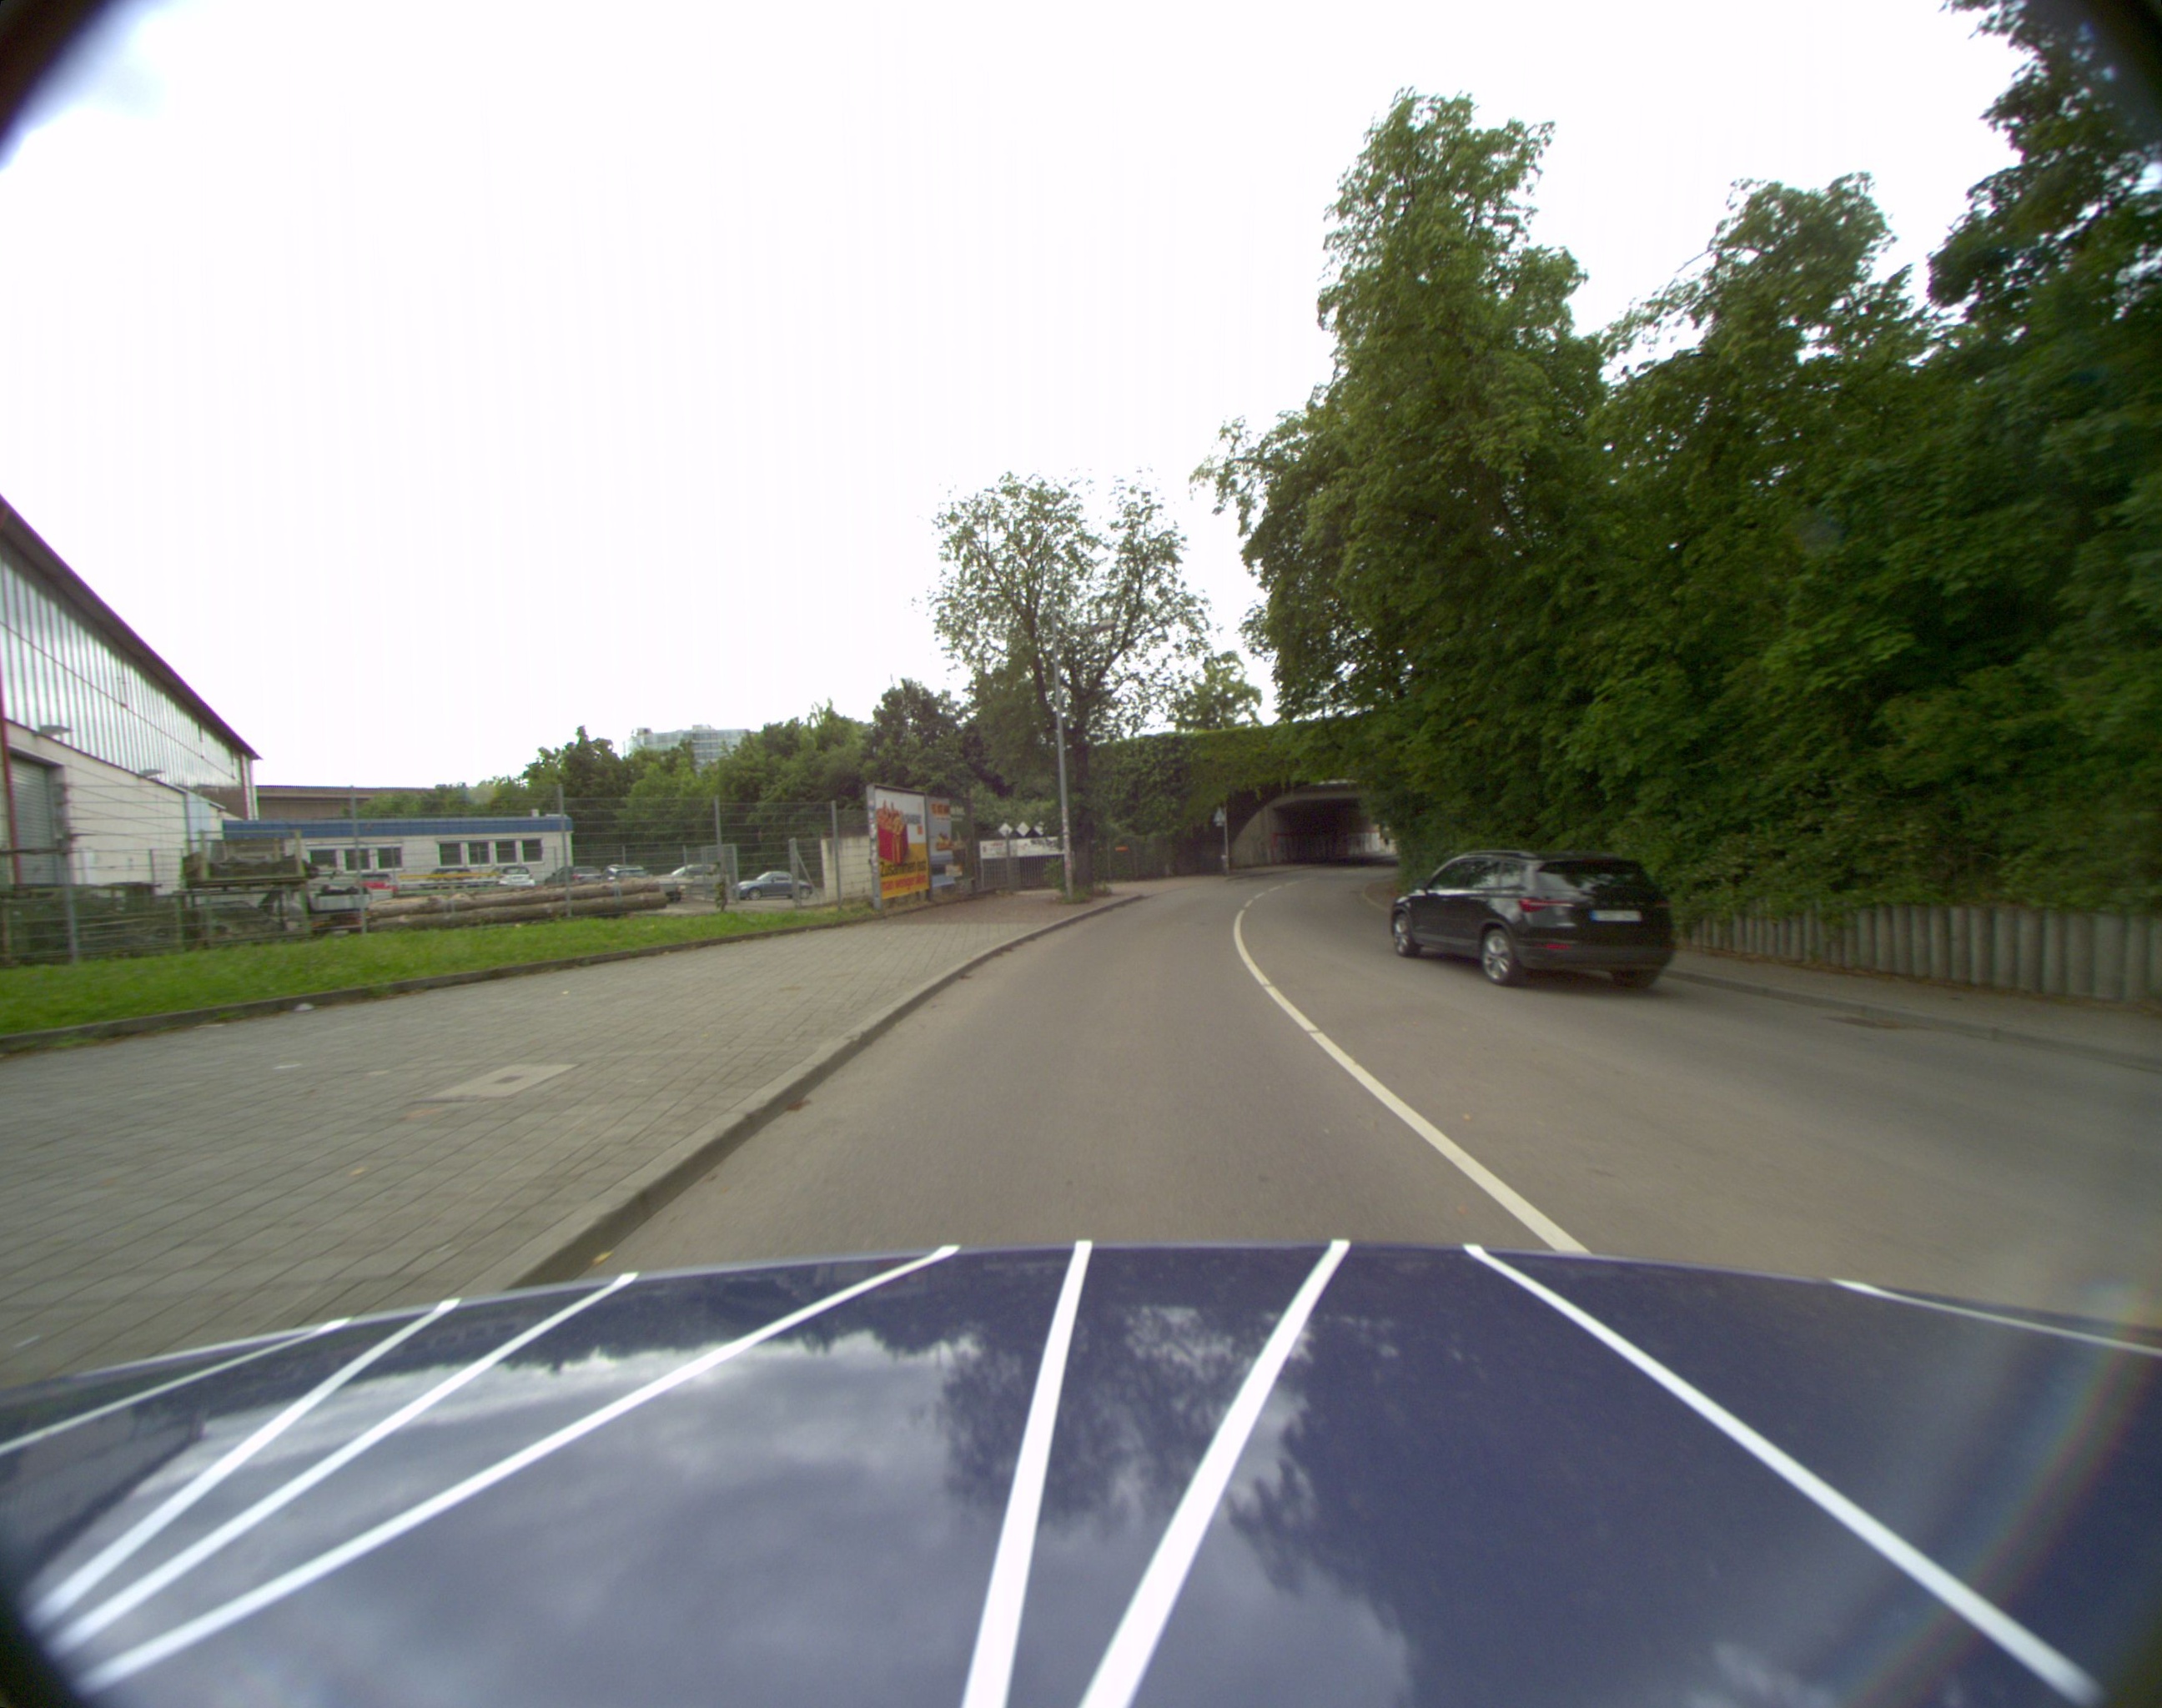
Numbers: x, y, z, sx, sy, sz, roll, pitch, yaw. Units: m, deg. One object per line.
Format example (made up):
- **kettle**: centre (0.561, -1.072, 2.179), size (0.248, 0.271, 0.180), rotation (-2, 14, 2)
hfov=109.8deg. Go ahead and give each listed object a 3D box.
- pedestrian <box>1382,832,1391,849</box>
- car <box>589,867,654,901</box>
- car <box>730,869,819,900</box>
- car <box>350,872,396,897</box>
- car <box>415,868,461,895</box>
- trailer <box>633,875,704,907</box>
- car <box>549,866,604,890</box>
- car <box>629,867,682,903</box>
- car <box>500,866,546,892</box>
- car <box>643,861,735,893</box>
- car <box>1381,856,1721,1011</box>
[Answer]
- **pedestrian**: centre (34.240, -1.557, 85.103), size (0.820, 1.870, 1.182), rotation (2, 4, 26)
- **car**: centre (-20.967, 1.327, 34.612), size (1.810, 1.369, 3.788), rotation (-4, 2, -42)
- **car**: centre (-13.680, 1.330, 33.971), size (1.467, 1.245, 3.378), rotation (0, 0, 43)
- **car**: centre (-35.466, 1.505, 38.047), size (3.302, 1.201, 1.340), rotation (-1, 0, 42)
- **car**: centre (-33.417, 1.406, 39.470), size (3.302, 1.324, 1.340), rotation (-1, 0, 42)
- **trailer**: centre (-16.469, 1.446, 30.329), size (1.853, 1.131, 2.632), rotation (-3, 1, -42)
- **car**: centre (-28.923, 1.361, 43.495), size (3.673, 1.324, 1.533), rotation (-1, 0, 38)
- **car**: centre (-18.189, 1.281, 32.440), size (1.374, 1.431, 2.846), rotation (-1, 0, -42)
- **car**: centre (-30.706, 1.368, 41.767), size (3.302, 1.324, 1.340), rotation (-1, 0, 42)
- **car**: centre (-19.845, 1.112, 38.557), size (1.561, 1.523, 3.819), rotation (1, 1, 43)
- **car**: centre (5.709, 0.837, 9.986), size (1.807, 1.600, 4.175), rotation (1, 0, -1)
